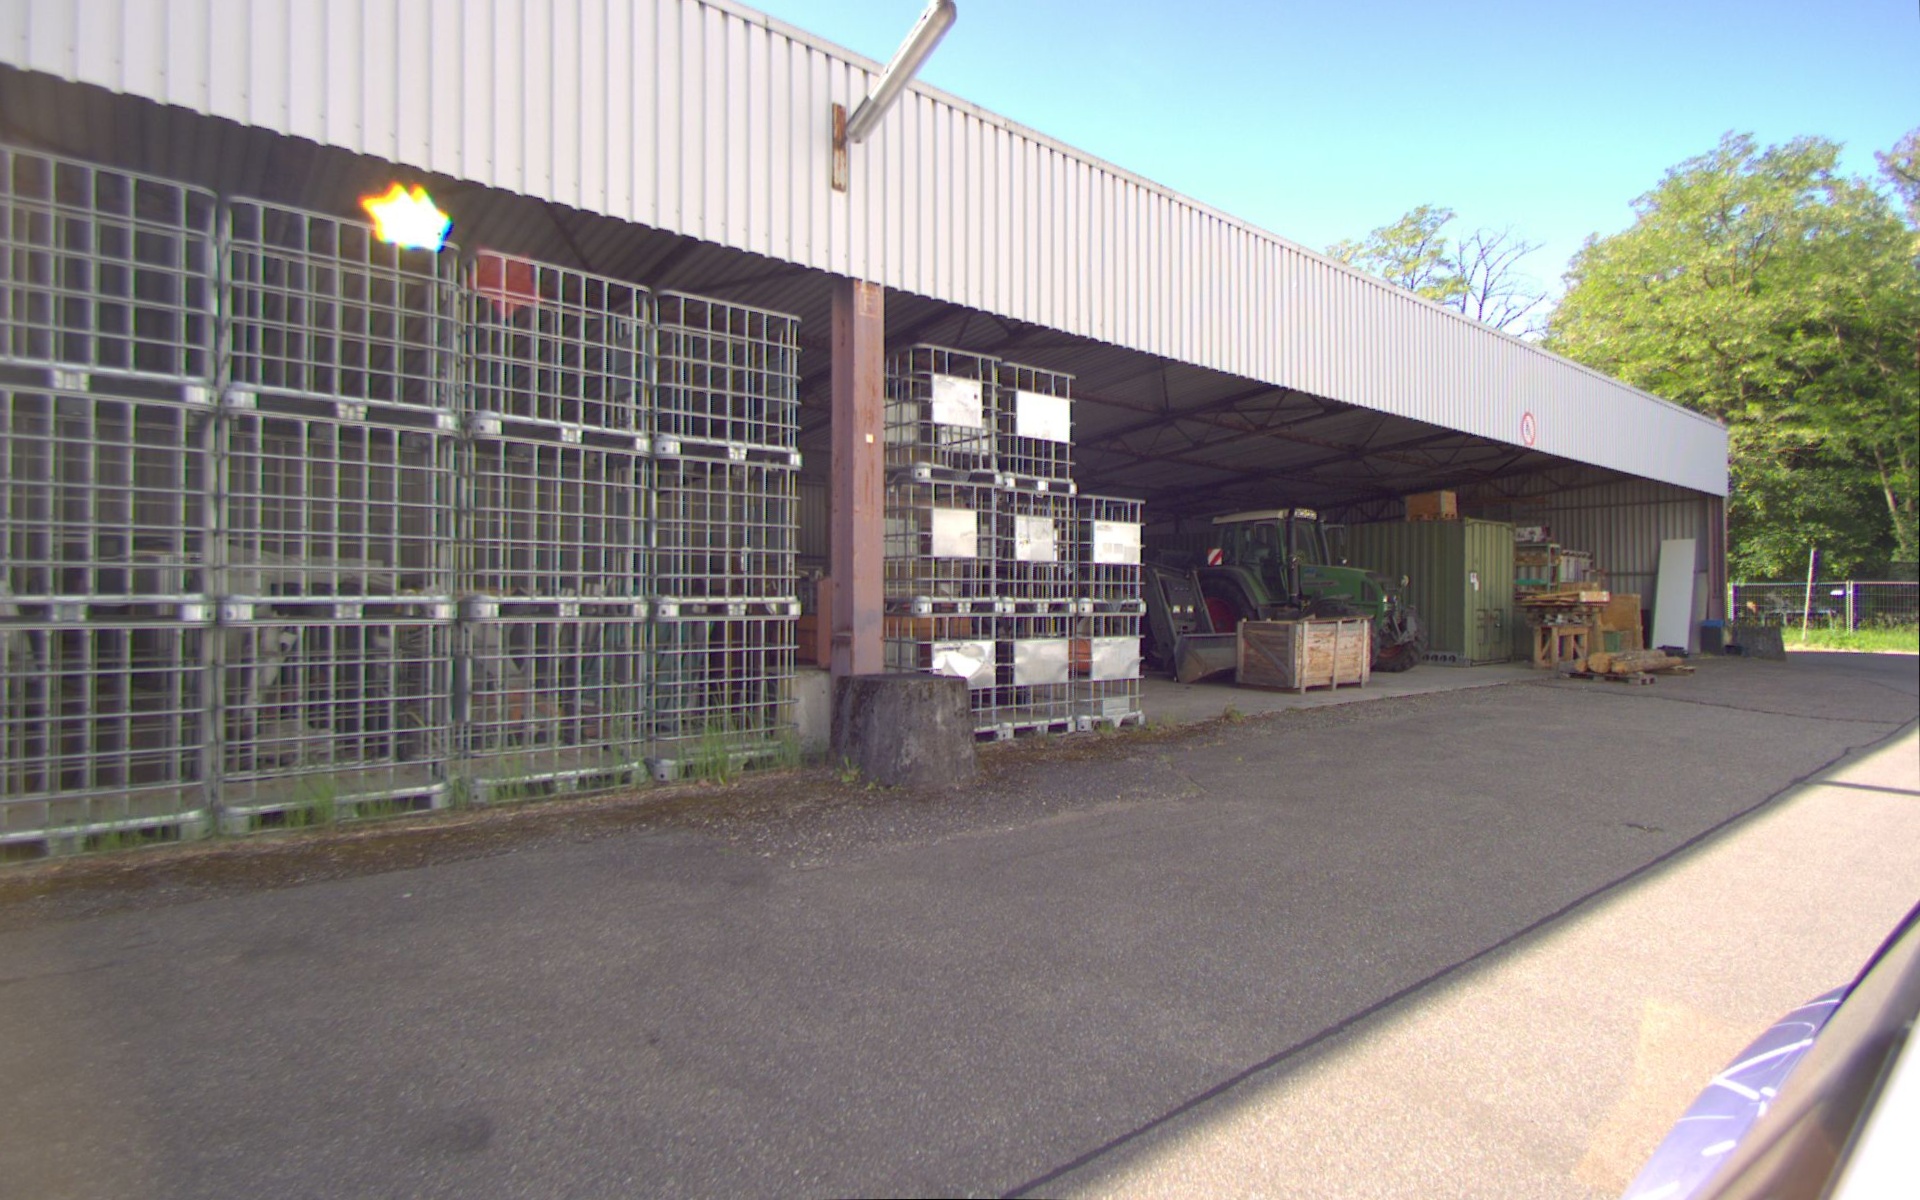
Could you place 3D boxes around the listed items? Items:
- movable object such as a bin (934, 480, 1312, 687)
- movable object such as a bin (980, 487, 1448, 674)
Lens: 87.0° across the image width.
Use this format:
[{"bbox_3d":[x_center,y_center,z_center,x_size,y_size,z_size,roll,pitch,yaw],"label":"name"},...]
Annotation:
[{"bbox_3d":[2.589,-0.224,17.791,2.962,2.947,6.199,0,0,-39],"label":"movable object such as a bin"},{"bbox_3d":[4.546,-0.299,20.524,3.154,2.947,9.213,0,0,-39],"label":"movable object such as a bin"}]
